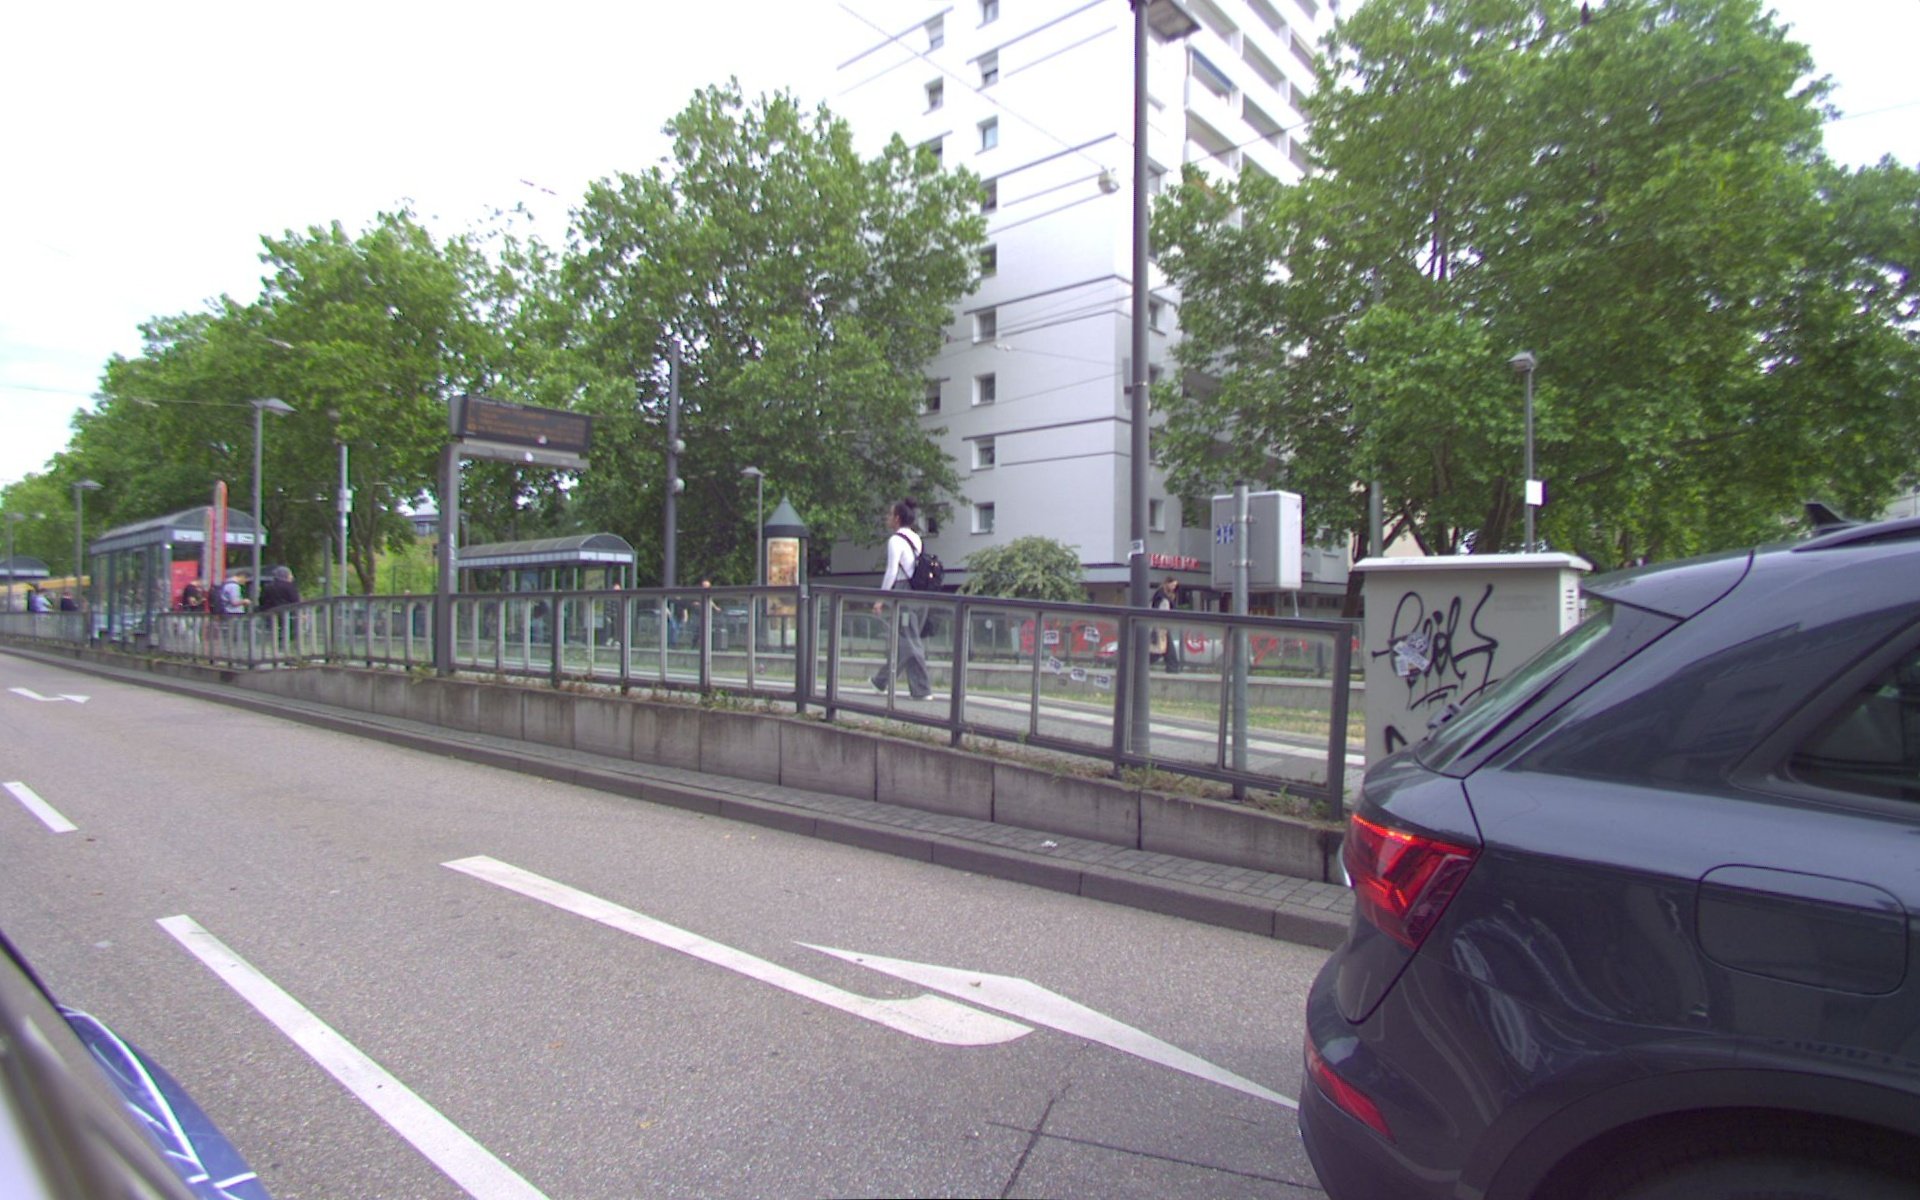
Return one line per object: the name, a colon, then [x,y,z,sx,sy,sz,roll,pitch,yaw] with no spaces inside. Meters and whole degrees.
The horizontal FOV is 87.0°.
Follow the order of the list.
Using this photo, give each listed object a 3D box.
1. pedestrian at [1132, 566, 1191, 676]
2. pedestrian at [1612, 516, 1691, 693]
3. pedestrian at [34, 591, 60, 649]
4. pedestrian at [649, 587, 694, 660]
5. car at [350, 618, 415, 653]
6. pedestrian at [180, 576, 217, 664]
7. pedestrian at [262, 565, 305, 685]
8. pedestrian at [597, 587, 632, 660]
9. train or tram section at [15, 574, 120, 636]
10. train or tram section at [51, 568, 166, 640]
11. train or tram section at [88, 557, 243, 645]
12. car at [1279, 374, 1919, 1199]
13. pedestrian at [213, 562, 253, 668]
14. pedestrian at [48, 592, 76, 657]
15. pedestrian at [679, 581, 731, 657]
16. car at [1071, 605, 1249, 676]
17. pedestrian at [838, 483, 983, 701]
pedestrian: [3.317,0.333,16.631,0.666,1.763,0.728,-1,0,41]
pedestrian: [8.052,0.051,11.780,0.666,1.965,0.728,-1,0,41]
pedestrian: [-29.032,0.617,32.188,0.523,1.818,0.607,-1,0,-35]
pedestrian: [-7.444,0.598,26.139,0.666,1.848,0.871,-1,0,41]
car: [-24.497,1.468,42.890,3.221,1.439,1.560,-1,-1,44]
pedestrian: [-15.920,0.413,21.165,0.467,1.818,0.607,-1,0,-24]
pedestrian: [-10.524,0.384,15.745,0.513,1.818,0.606,-1,0,-37]
pedestrian: [-9.321,0.626,27.297,0.553,1.945,0.690,-1,0,41]
train or tram section: [-60.550,0.385,68.441,16.241,3.781,3.295,-1,0,41]
train or tram section: [-49.782,0.248,58.979,12.543,3.781,3.295,-1,0,41]
train or tram section: [-39.376,0.115,49.782,15.196,3.781,3.295,-1,0,41]
car: [2.694,0.536,0.975,4.225,1.649,1.715,-1,0,41]
pedestrian: [-12.700,0.261,17.673,0.605,1.818,0.469,-1,0,45]
pedestrian: [-25.563,0.686,28.826,0.523,1.818,0.607,-1,0,-35]
pedestrian: [-6.102,0.438,24.201,0.850,1.769,0.871,-1,0,41]
car: [4.748,0.925,23.936,3.963,1.564,1.925,-1,0,15]
pedestrian: [-0.418,-0.060,8.388,0.979,1.683,0.711,-1,0,44]
